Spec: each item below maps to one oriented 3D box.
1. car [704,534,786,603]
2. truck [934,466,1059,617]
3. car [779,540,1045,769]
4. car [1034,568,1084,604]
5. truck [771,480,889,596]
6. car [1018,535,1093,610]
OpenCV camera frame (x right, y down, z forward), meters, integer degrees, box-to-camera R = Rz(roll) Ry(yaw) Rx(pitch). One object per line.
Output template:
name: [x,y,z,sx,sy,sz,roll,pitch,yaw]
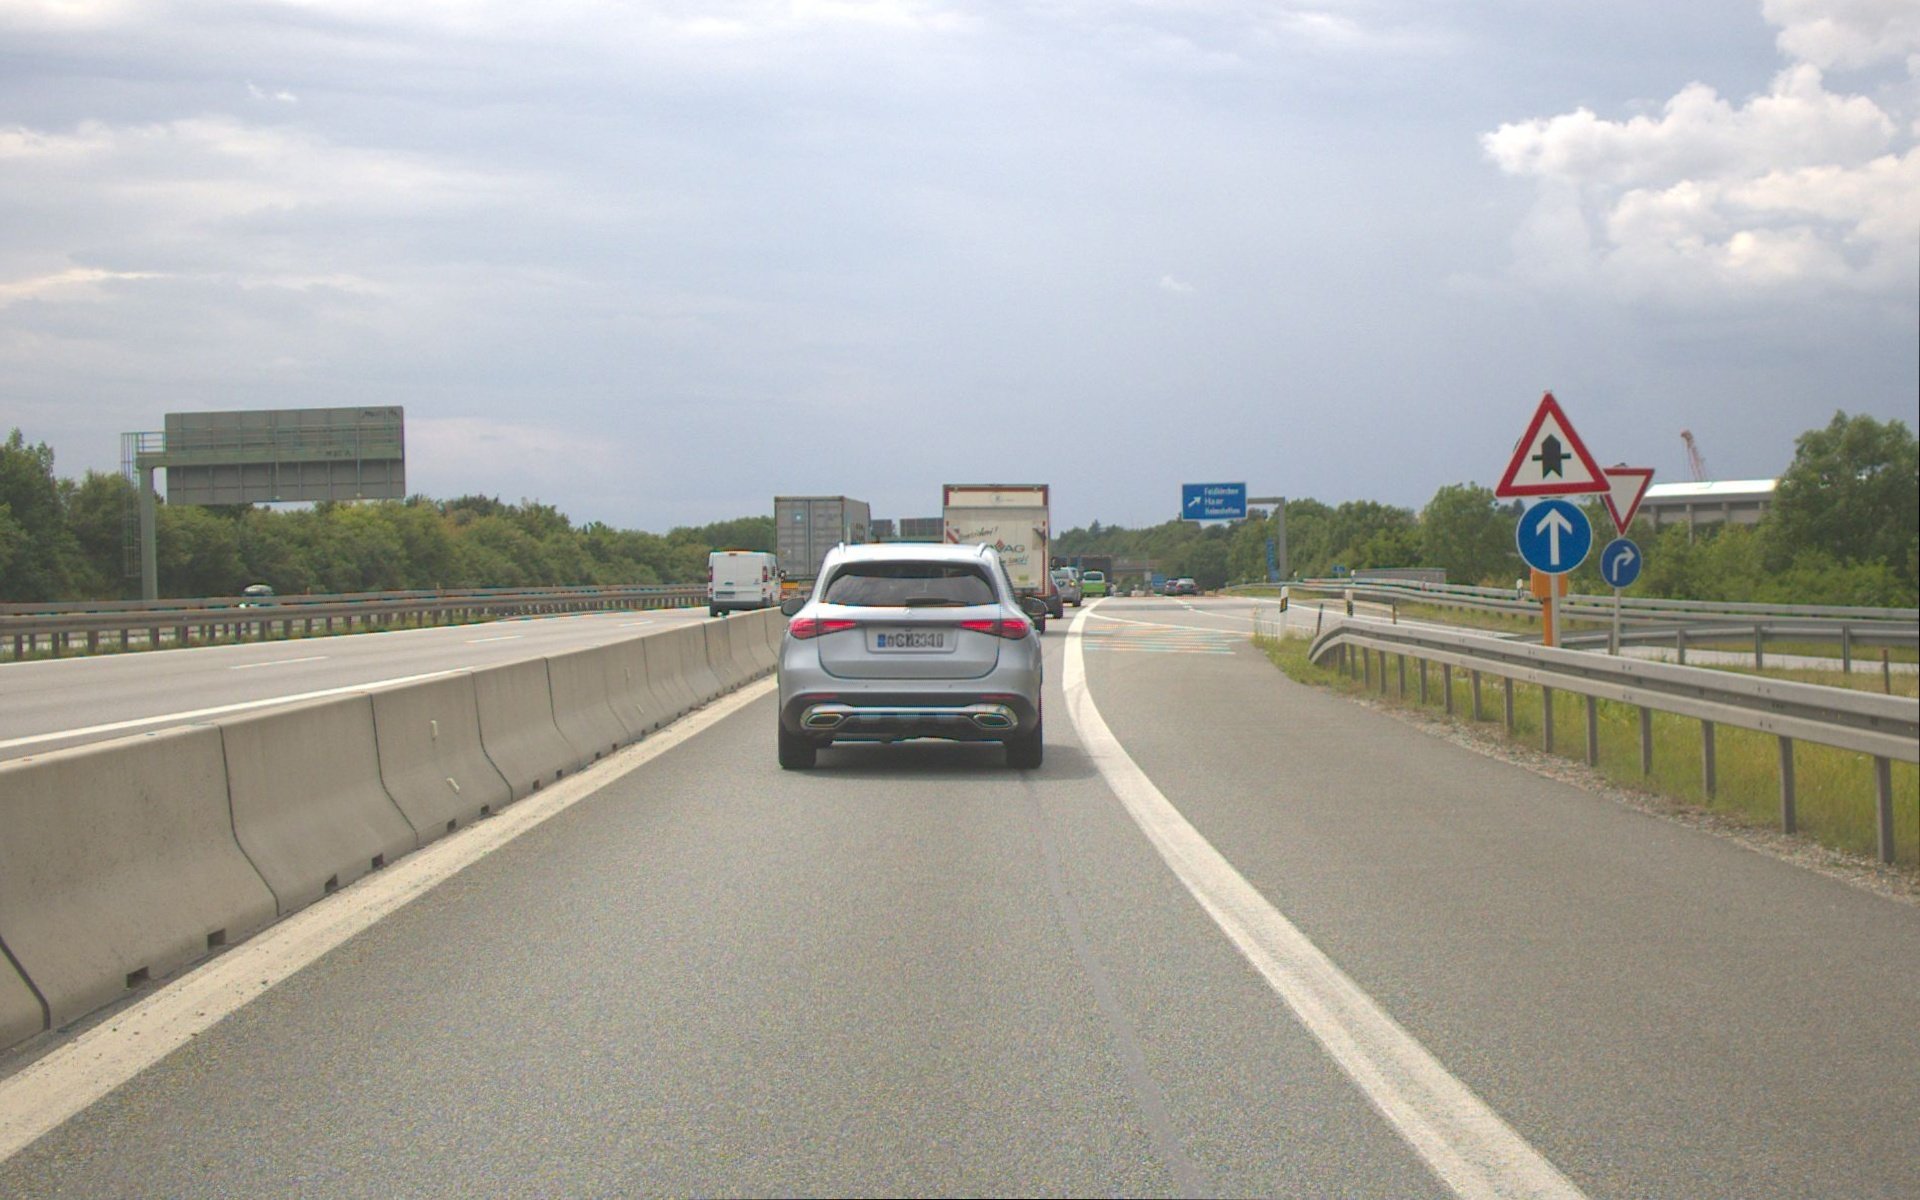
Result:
car: [-6.583,-0.990,105.533,1.994,2.006,4.374,0,2,3]
truck: [0.859,-1.246,75.383,2.569,3.115,8.634,0,0,1]
car: [-0.294,0.337,25.506,1.819,1.509,4.000,0,2,1]
car: [3.642,-0.536,126.025,1.696,1.284,4.000,0,1,4]
truck: [-4.667,-2.383,127.050,3.183,4.005,16.075,0,2,2]
car: [2.706,-0.796,96.239,1.994,2.006,4.000,0,2,3]
